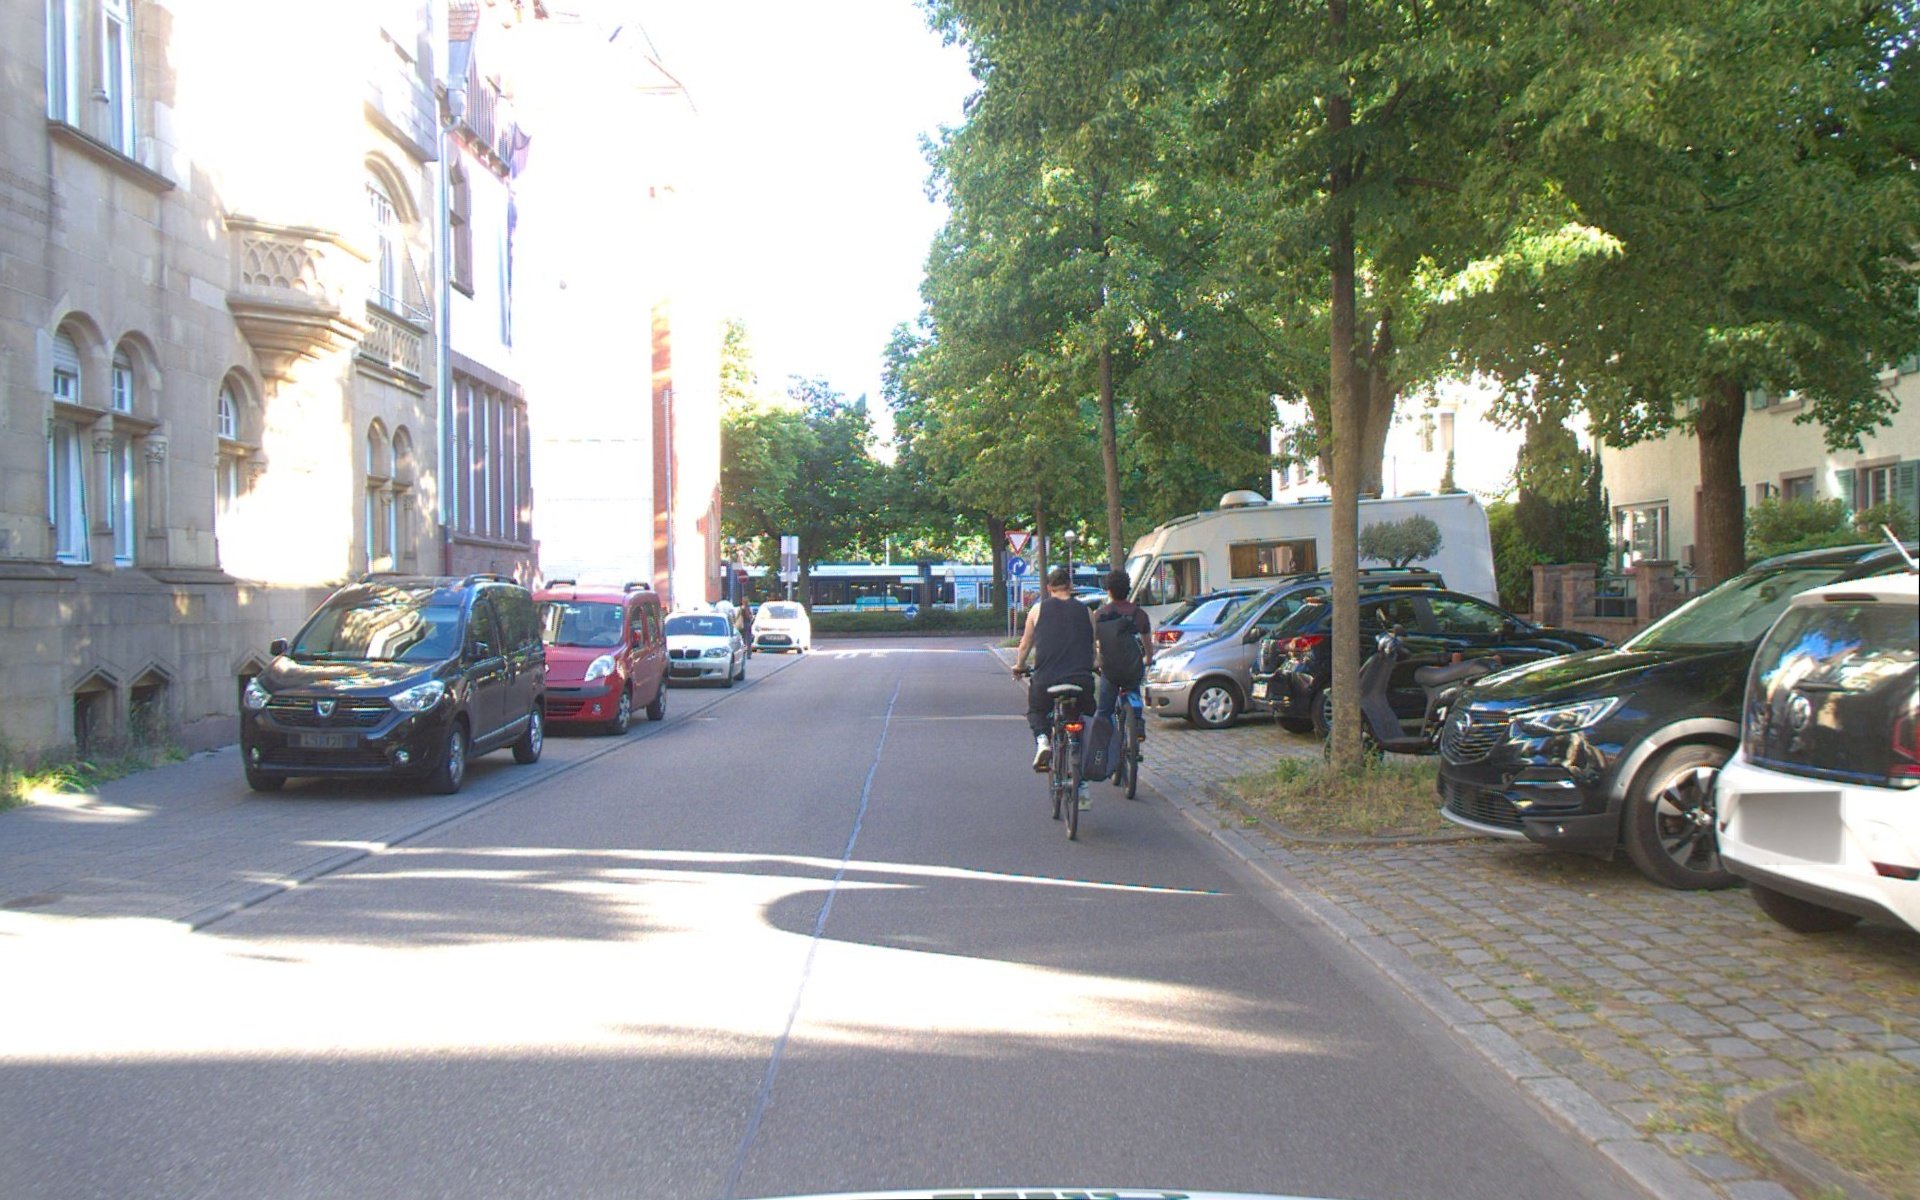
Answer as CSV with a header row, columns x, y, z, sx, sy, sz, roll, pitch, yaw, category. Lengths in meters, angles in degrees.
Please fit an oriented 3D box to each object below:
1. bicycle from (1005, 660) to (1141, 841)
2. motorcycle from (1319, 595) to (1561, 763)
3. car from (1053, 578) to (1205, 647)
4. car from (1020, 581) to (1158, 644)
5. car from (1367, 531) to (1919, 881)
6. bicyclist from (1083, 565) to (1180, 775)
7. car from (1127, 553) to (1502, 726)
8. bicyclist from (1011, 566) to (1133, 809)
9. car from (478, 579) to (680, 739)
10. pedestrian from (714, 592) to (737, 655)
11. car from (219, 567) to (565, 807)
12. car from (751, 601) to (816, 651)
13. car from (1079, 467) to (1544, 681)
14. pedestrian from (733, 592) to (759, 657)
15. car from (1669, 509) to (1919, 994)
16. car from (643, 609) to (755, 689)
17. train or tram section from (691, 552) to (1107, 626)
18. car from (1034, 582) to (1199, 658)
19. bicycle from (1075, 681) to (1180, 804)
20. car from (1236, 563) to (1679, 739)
x,y,z,sx,sy,sz,roll,pitch,yaw,category
0.735,0.979,11.331,0.722,1.072,1.955,1,-1,-2,bicycle
3.532,0.563,12.211,1.574,1.161,0.671,-2,0,32,motorcycle
4.591,0.346,45.351,3.908,1.835,1.833,0,-1,-4,car
3.815,0.384,49.467,3.908,1.835,1.833,0,-1,-4,car
4.432,0.511,8.849,4.054,1.628,1.702,-2,-2,0,car
1.387,0.552,13.506,0.675,1.655,0.998,0,0,-1,bicyclist
4.147,0.452,19.732,4.002,1.678,1.640,-4,0,-3,car
0.746,0.577,11.236,0.715,1.575,0.884,1,-1,-2,bicyclist
-4.854,0.677,21.625,1.654,1.857,4.272,1,1,-1,car
-6.656,0.673,46.985,0.596,1.793,0.432,0,-1,-1,pedestrian
-4.874,0.663,14.872,1.607,1.815,4.353,1,0,-1,car
-5.333,0.760,50.455,1.551,1.399,4.131,1,1,-1,car
5.675,-0.421,27.338,7.006,3.030,2.462,-3,0,-4,car
-5.692,0.648,43.996,0.596,1.708,0.518,0,-1,-1,pedestrian
4.983,0.481,6.409,3.695,1.628,1.691,-2,-2,0,car
-5.041,0.912,32.428,1.551,1.367,4.131,1,1,-1,car
-3.081,-0.476,92.824,23.487,3.773,4.254,1,-1,-24,train or tram section
3.892,0.504,41.580,3.908,1.835,1.833,0,-1,-4,car
1.337,1.126,13.485,0.620,0.813,1.832,-1,0,-1,bicycle
5.088,0.527,17.247,4.057,1.628,1.701,-1,-2,-4,car
